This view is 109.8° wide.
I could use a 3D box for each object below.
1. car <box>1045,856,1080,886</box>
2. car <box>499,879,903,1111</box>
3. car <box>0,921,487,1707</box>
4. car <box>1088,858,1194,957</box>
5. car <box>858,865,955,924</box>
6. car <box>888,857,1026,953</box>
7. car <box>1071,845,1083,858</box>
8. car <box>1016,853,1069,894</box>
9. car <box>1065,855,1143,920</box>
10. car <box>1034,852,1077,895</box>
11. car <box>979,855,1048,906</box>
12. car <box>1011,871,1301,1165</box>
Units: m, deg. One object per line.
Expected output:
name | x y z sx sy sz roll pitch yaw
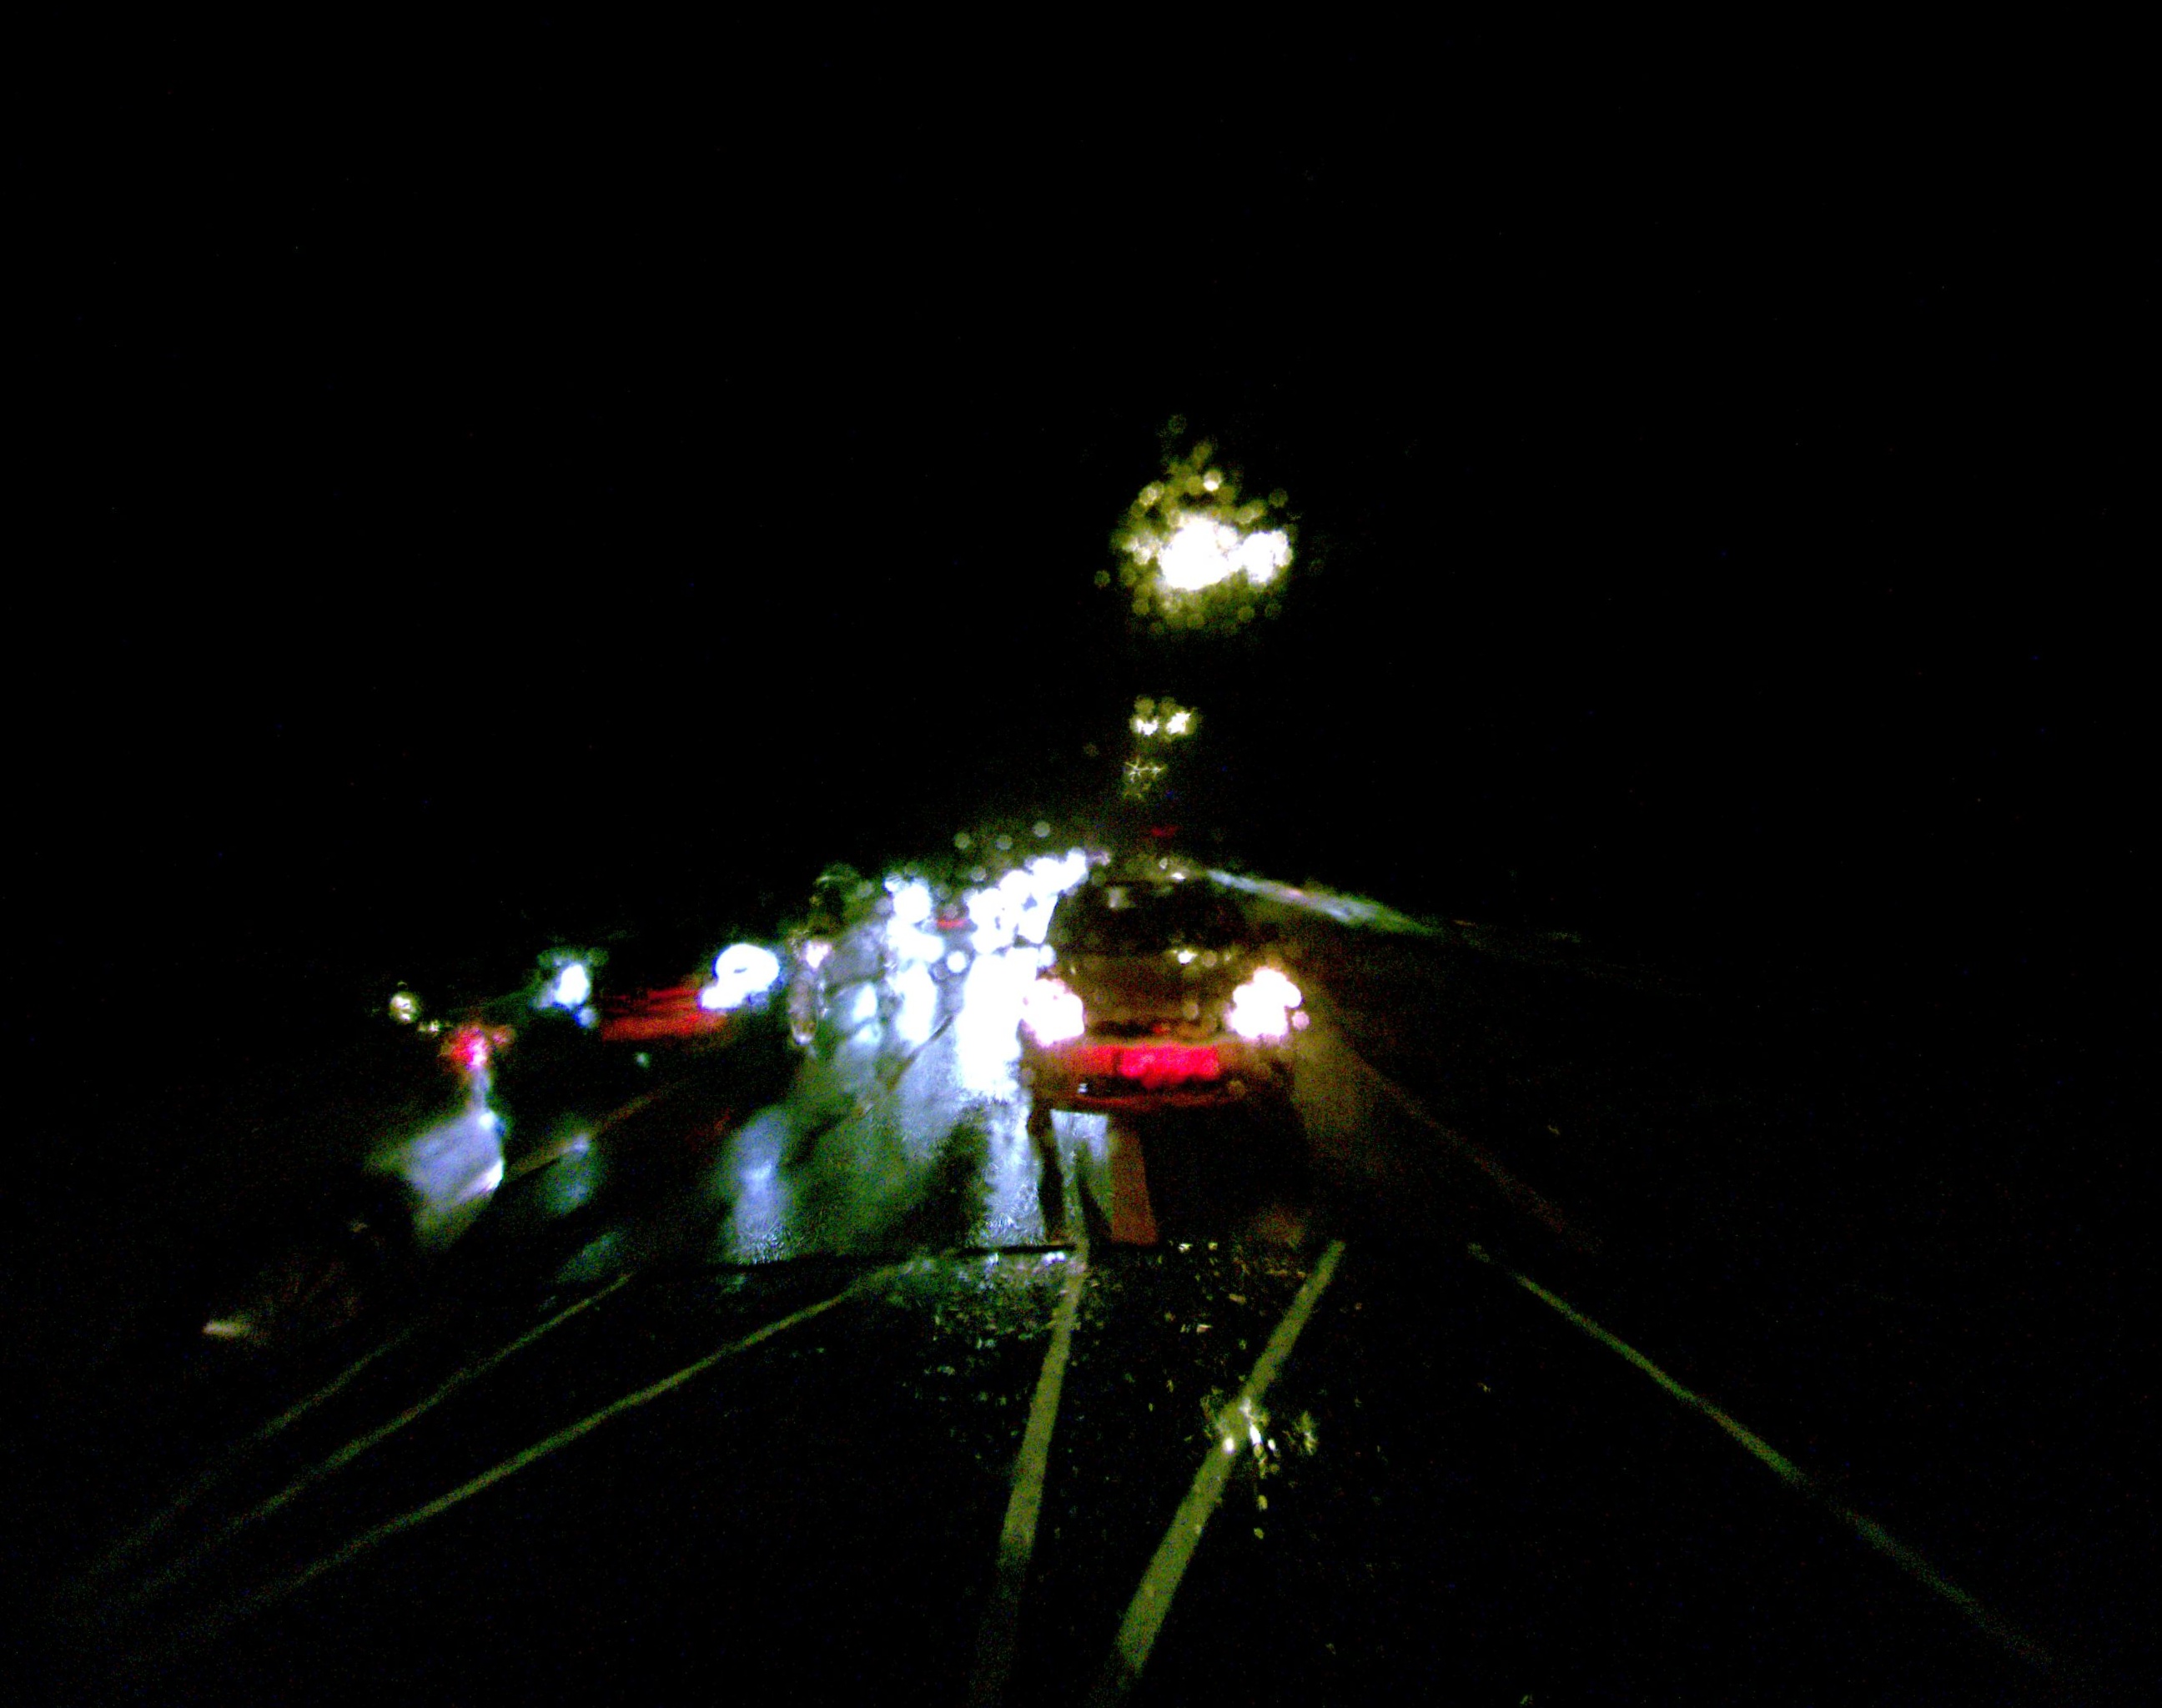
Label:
car | -1.122 1.031 47.777 1.998 1.789 4.000 -1 0 1
car | -3.174 1.070 7.448 1.743 1.409 4.139 -2 1 1
car | -3.074 1.053 0.527 1.711 1.513 4.414 -2 1 1
car | 0.986 0.864 13.834 1.606 1.417 3.389 -4 1 1
car | -5.423 1.200 24.263 1.998 1.472 4.337 -4 1 0
car | -2.320 0.901 15.449 1.998 1.589 4.391 -1 1 1
car | -0.729 -0.438 129.754 1.998 2.002 3.999 -1 1 0
car | -1.610 0.790 32.968 1.998 1.589 4.391 -1 1 1
car | 0.587 0.832 20.635 1.838 1.417 3.698 -4 1 1
car | -1.279 0.968 39.635 1.998 2.002 3.999 -2 1 1
car | -2.293 0.870 26.971 1.998 1.589 4.391 -1 1 1
car | 0.427 0.927 5.790 1.497 1.416 3.389 -3 1 1
